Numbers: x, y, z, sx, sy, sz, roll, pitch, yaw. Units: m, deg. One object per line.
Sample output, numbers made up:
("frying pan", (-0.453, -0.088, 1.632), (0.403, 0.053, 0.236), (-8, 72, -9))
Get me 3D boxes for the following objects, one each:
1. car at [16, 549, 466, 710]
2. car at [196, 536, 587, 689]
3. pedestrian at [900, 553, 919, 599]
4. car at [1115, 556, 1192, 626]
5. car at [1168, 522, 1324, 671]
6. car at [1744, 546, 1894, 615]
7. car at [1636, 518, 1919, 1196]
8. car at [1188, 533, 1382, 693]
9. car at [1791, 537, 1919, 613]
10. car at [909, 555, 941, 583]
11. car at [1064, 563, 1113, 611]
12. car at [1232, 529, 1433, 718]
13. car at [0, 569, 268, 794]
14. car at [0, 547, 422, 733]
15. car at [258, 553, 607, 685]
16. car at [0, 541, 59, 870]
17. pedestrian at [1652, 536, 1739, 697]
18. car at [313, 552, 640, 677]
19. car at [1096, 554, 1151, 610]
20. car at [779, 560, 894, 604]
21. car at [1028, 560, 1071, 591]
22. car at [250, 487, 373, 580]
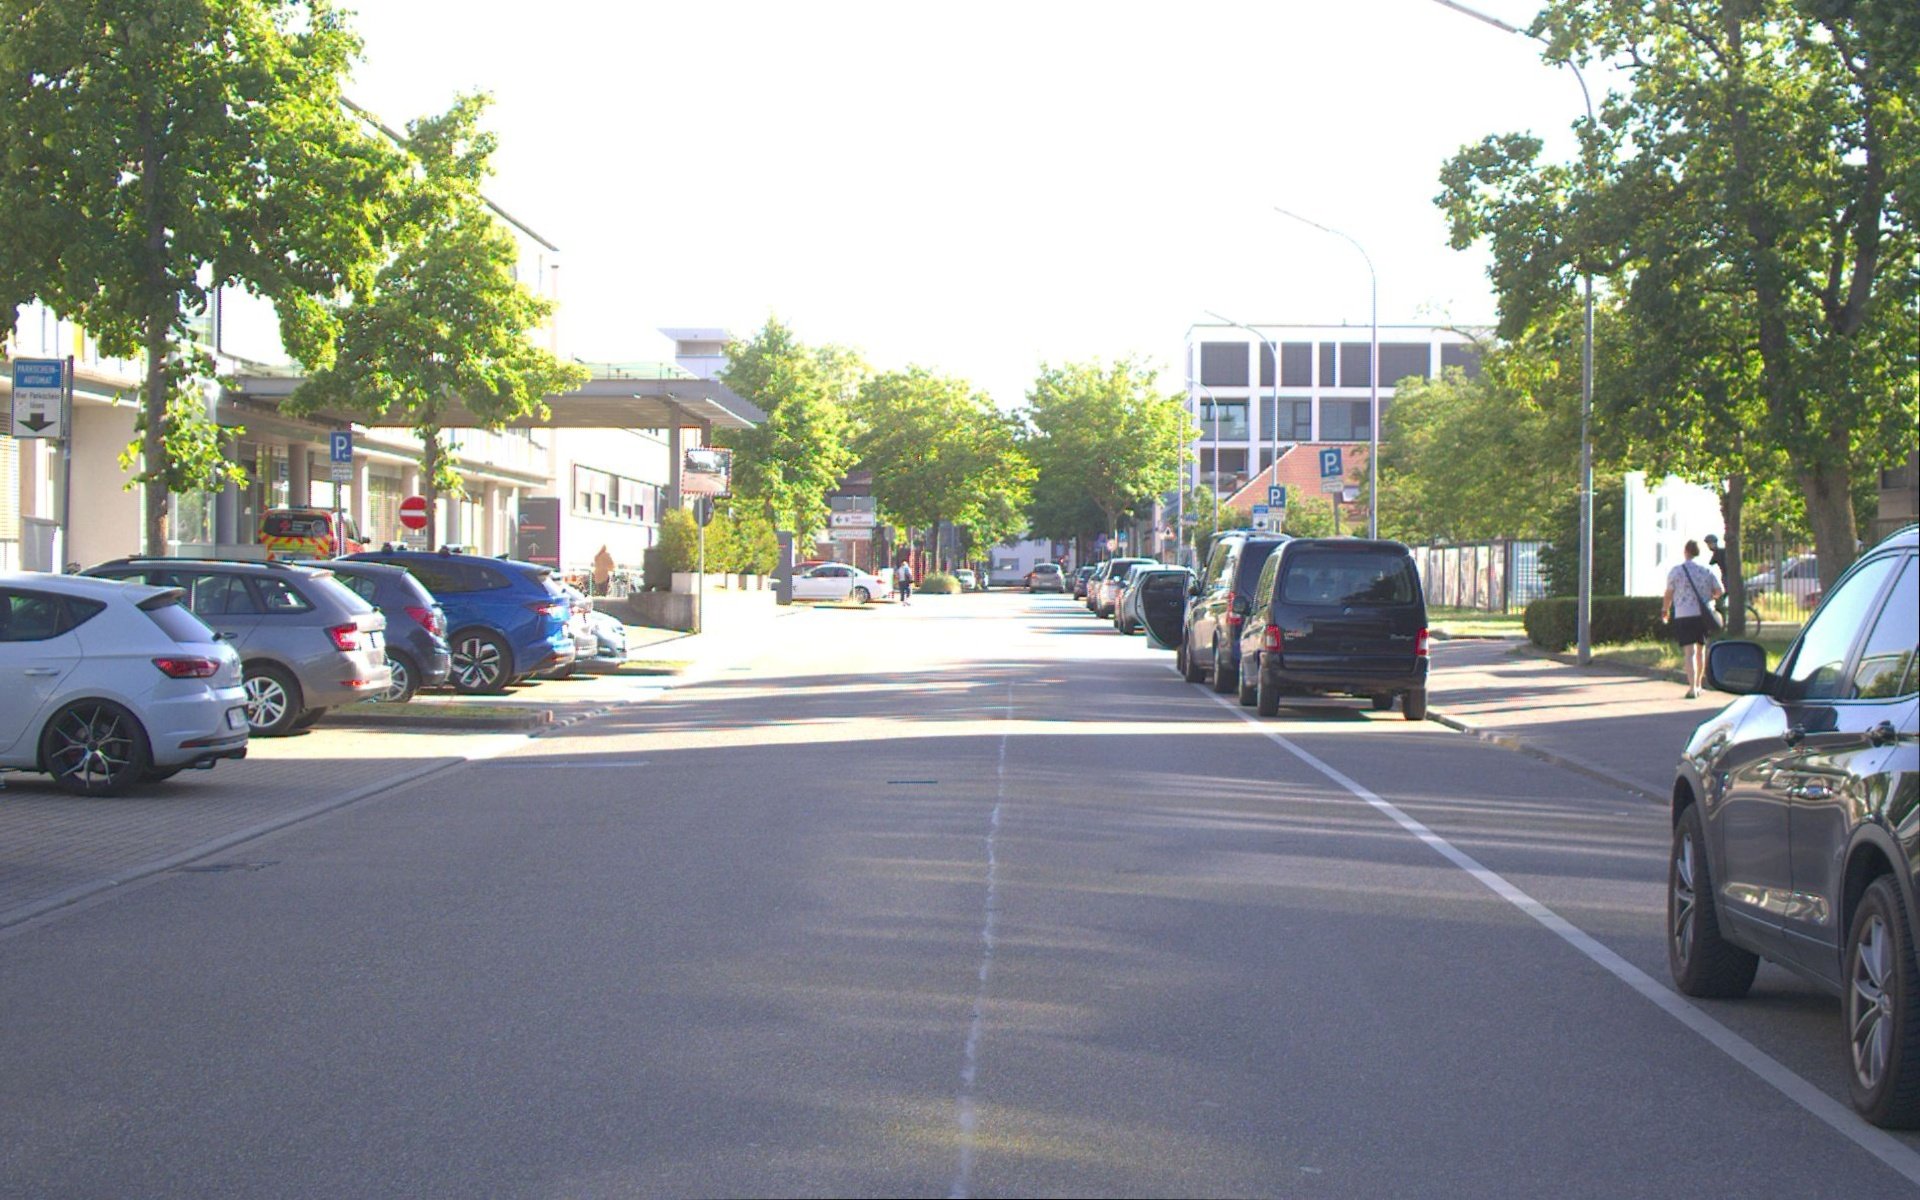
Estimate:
("car", (-7.272, 0.285, 35.080), (4.213, 1.481, 1.872), (2, 1, -2))
("car", (-6.502, 0.130, 39.650), (4.213, 1.597, 1.872), (2, 1, -2))
("pedestrian", (-1.777, -0.843, 121.117), (0.618, 1.618, 0.716), (-1, 1, 1))
("car", (4.204, -0.215, 75.029), (1.497, 1.474, 3.649), (-1, 1, 1))
("car", (3.949, -0.072, 47.950), (1.874, 1.971, 4.000), (-1, 1, 1))
("car", (25.748, -0.569, 103.153), (3.987, 2.007, 2.000), (1, -1, -1))
("car", (3.370, 0.610, 10.509), (1.812, 1.660, 4.592), (2, 2, 2))
("car", (3.887, 0.123, 41.705), (1.993, 1.816, 4.198), (-1, 1, 1))
("car", (24.831, -0.664, 93.391), (3.986, 2.007, 2.000), (1, -1, -3))
("car", (-1.910, -1.720, 189.578), (1.727, 1.531, 4.000), (0, 1, 0))
("car", (5.520, -0.562, 148.248), (1.993, 2.007, 4.000), (1, -1, 1))
("car", (3.782, 0.205, 35.464), (1.733, 1.824, 3.905), (0, 1, 1))
("car", (-6.678, 0.471, 22.415), (3.986, 1.354, 1.743), (2, 1, -2))
("car", (-6.882, 0.314, 29.659), (4.213, 1.457, 1.872), (2, 1, -2))
("car", (-6.404, 0.216, 42.084), (3.986, 1.547, 2.000), (0, 1, -1))
("car", (-6.804, 0.455, 16.839), (4.246, 1.606, 2.048), (2, 1, -2))
("pedestrian", (7.764, 0.171, 36.315), (0.698, 1.655, 0.752), (-2, 1, 1))
("car", (-6.220, 0.171, 44.589), (3.986, 1.546, 2.000), (0, 1, -1))
("car", (4.594, -0.522, 96.581), (1.436, 1.555, 3.042), (0, 1, 1))
("car", (-4.416, -0.646, 123.273), (3.987, 1.514, 2.000), (1, -1, 2))
("car", (4.521, -1.247, 173.797), (1.744, 1.538, 3.999), (1, 1, 7))
("car", (-14.793, -1.493, 78.629), (1.993, 2.007, 4.000), (1, -1, 1))
